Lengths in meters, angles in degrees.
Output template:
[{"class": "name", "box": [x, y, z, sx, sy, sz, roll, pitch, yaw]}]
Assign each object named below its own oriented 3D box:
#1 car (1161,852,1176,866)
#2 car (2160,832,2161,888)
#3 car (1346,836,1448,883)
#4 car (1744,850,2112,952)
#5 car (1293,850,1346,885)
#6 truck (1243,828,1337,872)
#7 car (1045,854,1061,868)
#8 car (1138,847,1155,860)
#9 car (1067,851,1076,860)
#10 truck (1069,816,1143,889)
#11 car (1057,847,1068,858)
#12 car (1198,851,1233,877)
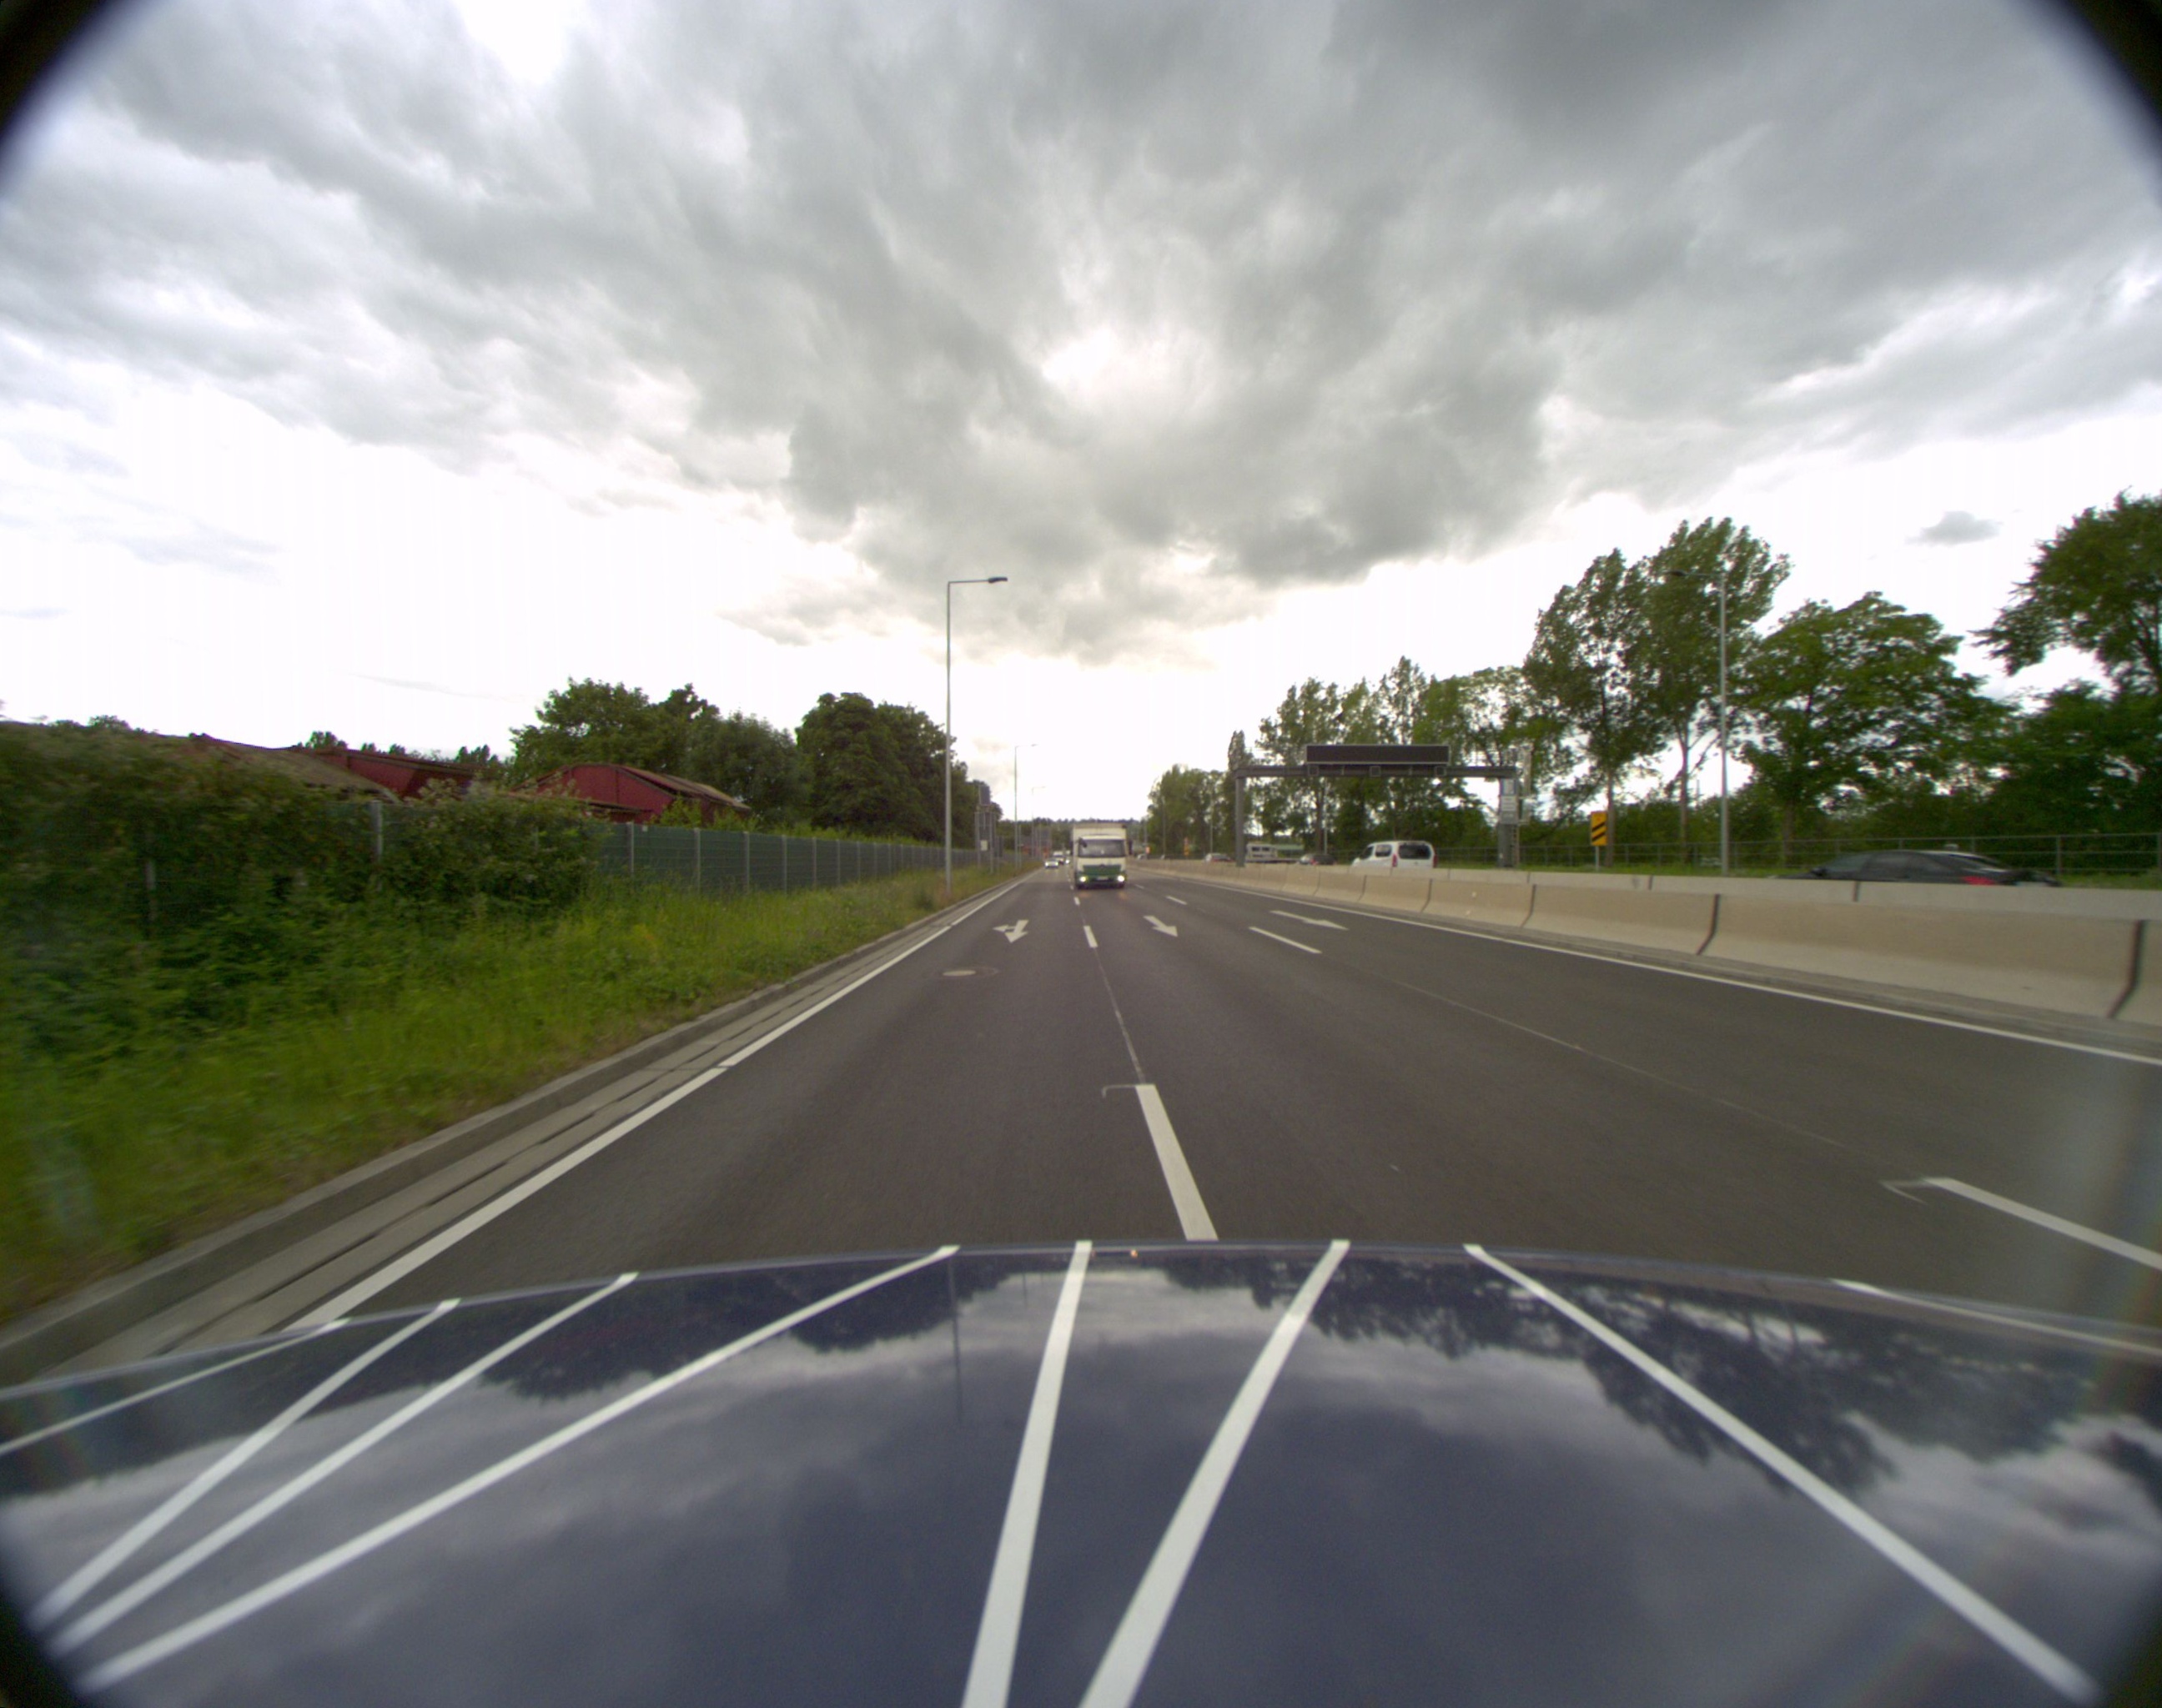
[{"class": "car", "box": [14.072, 0.784, 122.526, 1.998, 2.002, 4.000, -3, 0, 0]}, {"class": "car", "box": [13.564, 0.505, 6.477, 1.999, 1.608, 4.696, -3, 0, -1]}, {"class": "car", "box": [12.477, 0.207, 30.355, 1.999, 1.608, 4.696, -3, 0, -1]}, {"class": "car", "box": [16.227, 0.789, 15.063, 1.999, 1.608, 4.696, -3, 0, -1]}, {"class": "car", "box": [15.053, 0.816, 48.163, 1.999, 2.002, 3.999, -3, 0, -1]}, {"class": "truck", "box": [17.095, -0.282, 63.945, 2.862, 3.089, 15.882, -3, 0, -2]}, {"class": "car", "box": [-3.906, 0.964, 106.656, 1.999, 1.849, 3.999, -3, 0, -1]}, {"class": "car", "box": [9.033, -0.052, 105.349, 1.931, 1.608, 4.455, -3, 0, -1]}, {"class": "car", "box": [-2.131, 0.426, 175.034, 1.999, 2.002, 3.999, -3, 0, -1]}, {"class": "truck", "box": [1.033, -0.063, 37.306, 2.943, 3.064, 8.385, -2, 0, -2]}, {"class": "car", "box": [-3.691, -0.301, 148.318, 1.999, 2.002, 3.999, -3, 0, -1]}, {"class": "car", "box": [10.728, 0.783, 60.683, 1.821, 1.892, 3.999, -3, 0, -3]}]
